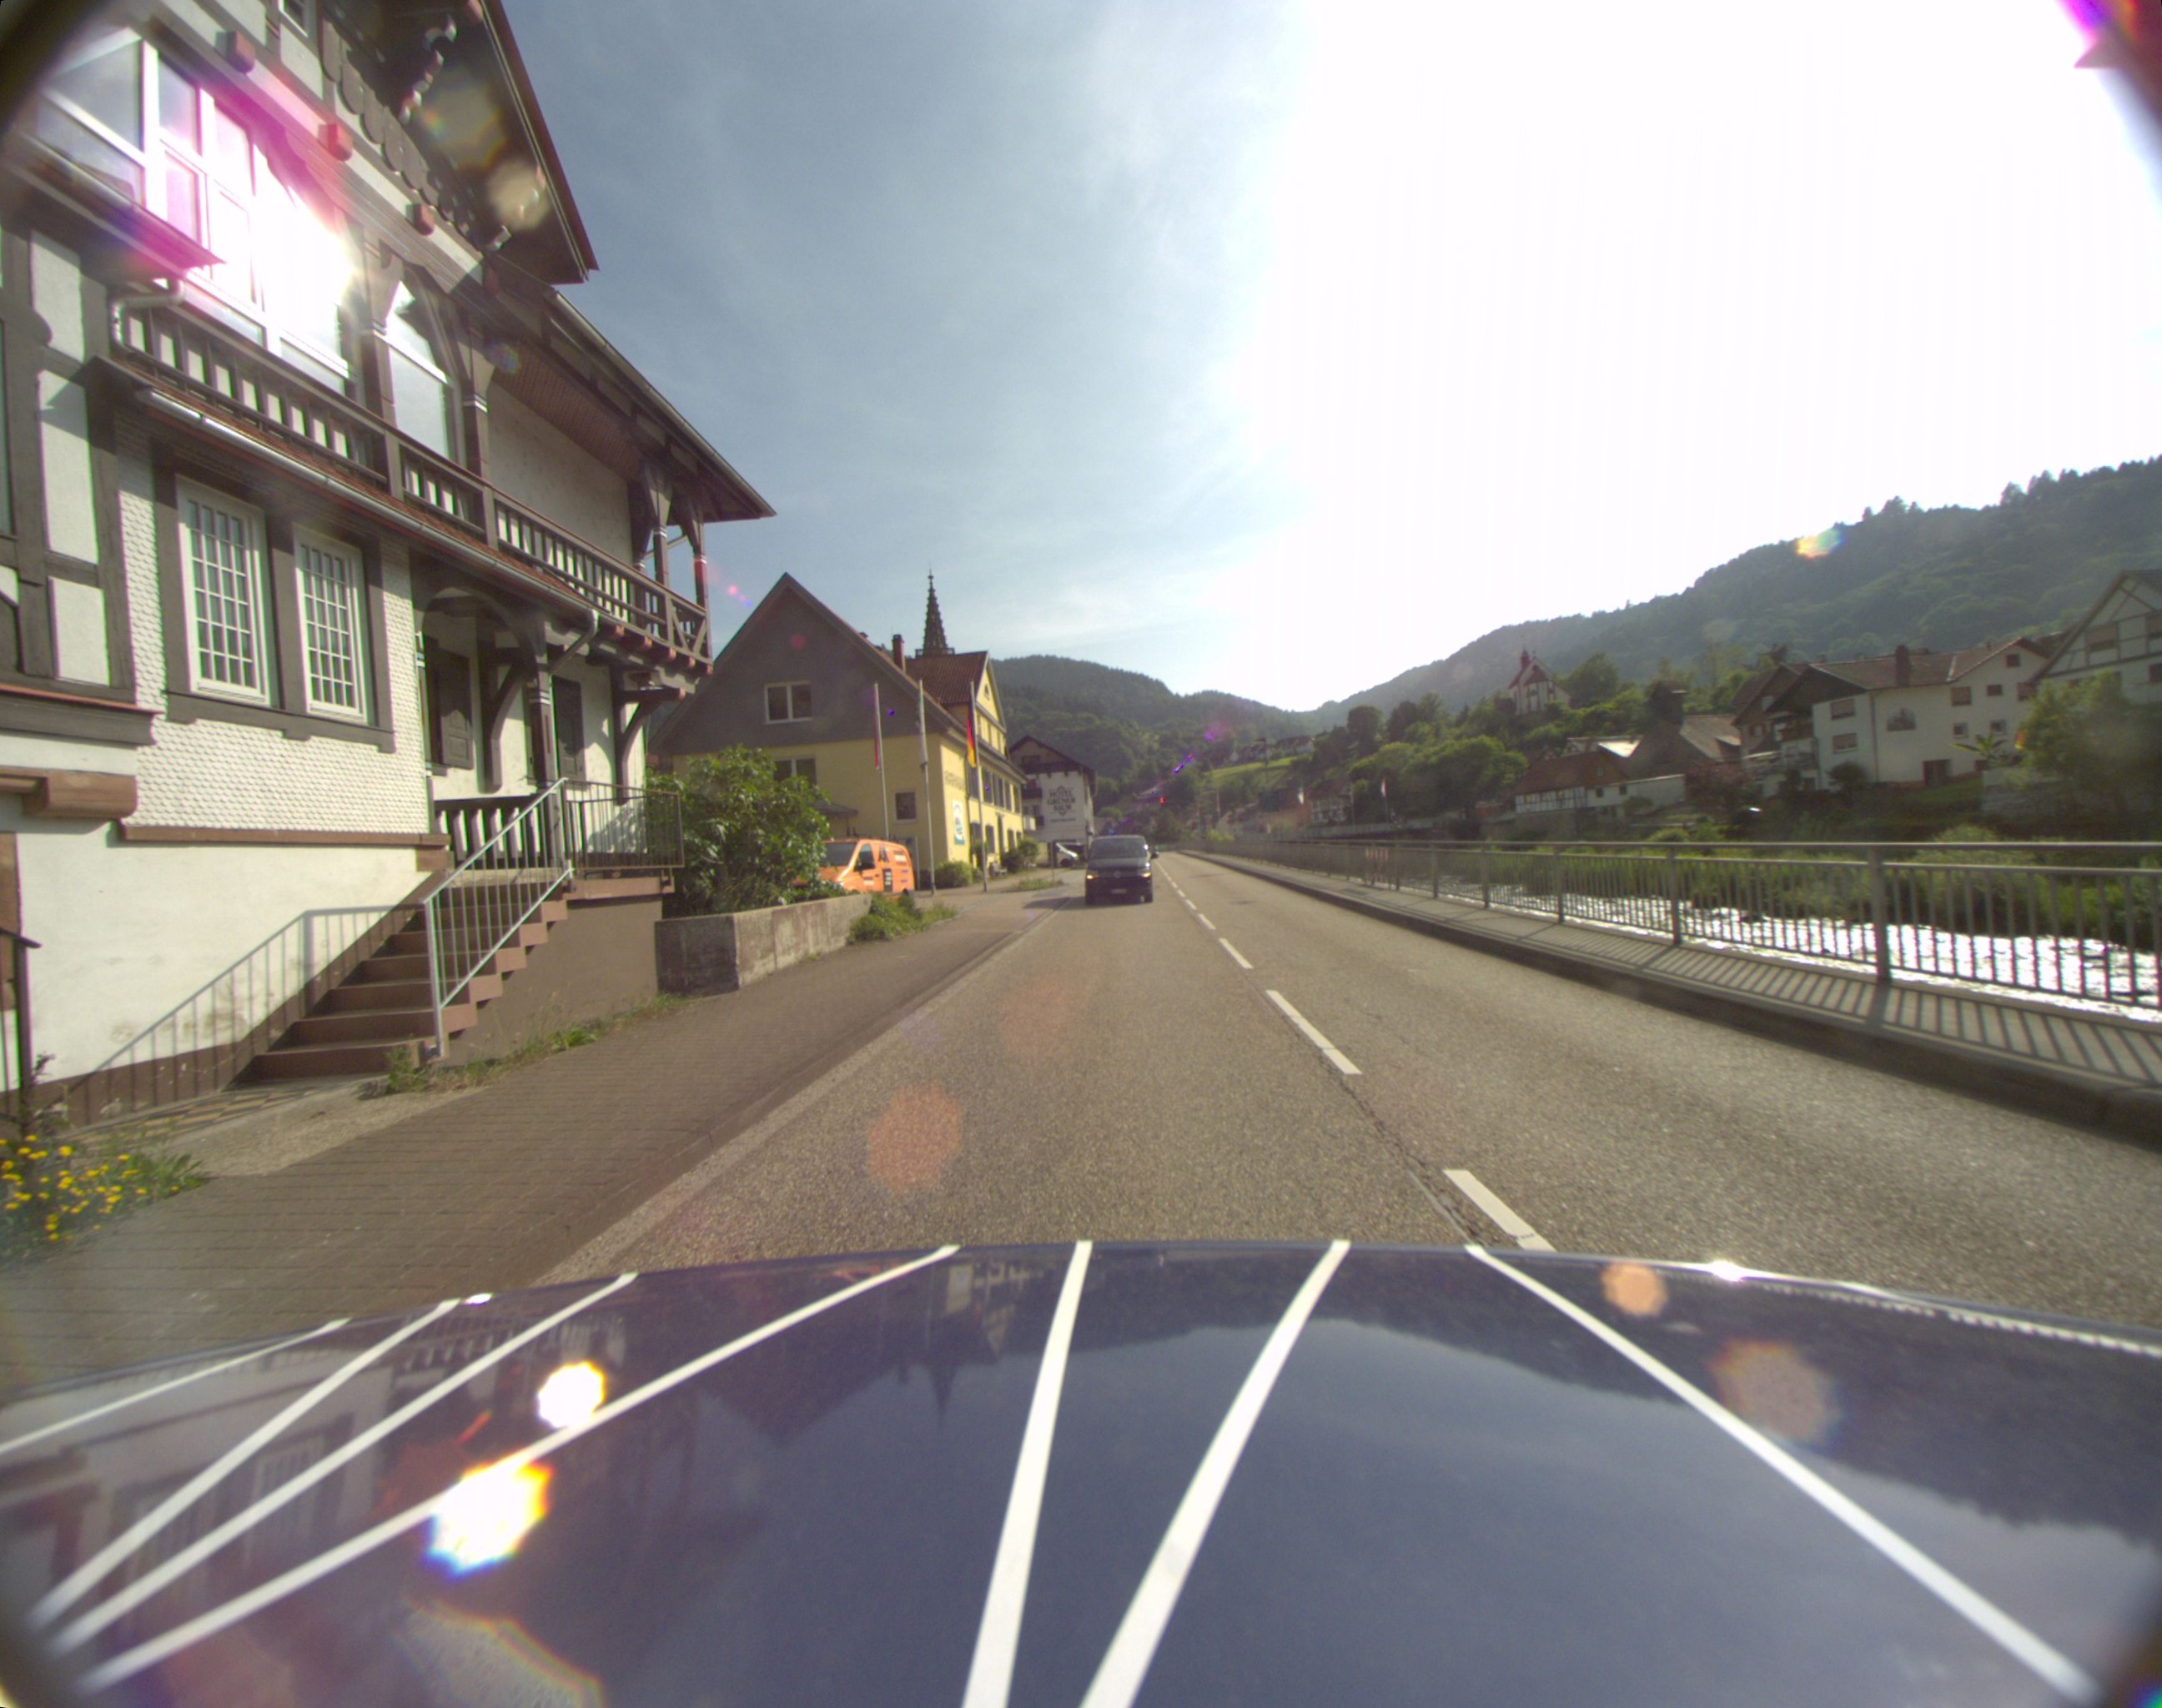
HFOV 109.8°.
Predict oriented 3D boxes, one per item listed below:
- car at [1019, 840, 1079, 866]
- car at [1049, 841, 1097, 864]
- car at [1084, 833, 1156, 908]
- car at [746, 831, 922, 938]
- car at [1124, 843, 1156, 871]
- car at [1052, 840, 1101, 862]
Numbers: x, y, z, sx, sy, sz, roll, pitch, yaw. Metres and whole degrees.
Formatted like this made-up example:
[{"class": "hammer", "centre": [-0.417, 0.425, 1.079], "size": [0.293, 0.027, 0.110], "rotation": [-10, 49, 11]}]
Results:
[{"class": "car", "centre": [-2.494, -0.101, 59.583], "size": [4.452, 1.947, 1.714], "rotation": [1, 1, 7]}, {"class": "car", "centre": [-0.642, -0.126, 62.092], "size": [3.754, 1.882, 1.372], "rotation": [1, 1, 7]}, {"class": "car", "centre": [1.276, 0.421, 23.046], "size": [1.887, 1.952, 4.867], "rotation": [-2, 1, 5]}, {"class": "car", "centre": [-5.259, 0.582, 17.020], "size": [1.912, 1.986, 4.836], "rotation": [-3, 0, 5]}, {"class": "car", "centre": [3.411, 0.126, 43.746], "size": [1.682, 1.513, 3.867], "rotation": [-2, 1, 6]}, {"class": "car", "centre": [-0.359, -0.262, 64.768], "size": [3.994, 1.871, 1.686], "rotation": [-1, 1, 7]}]
